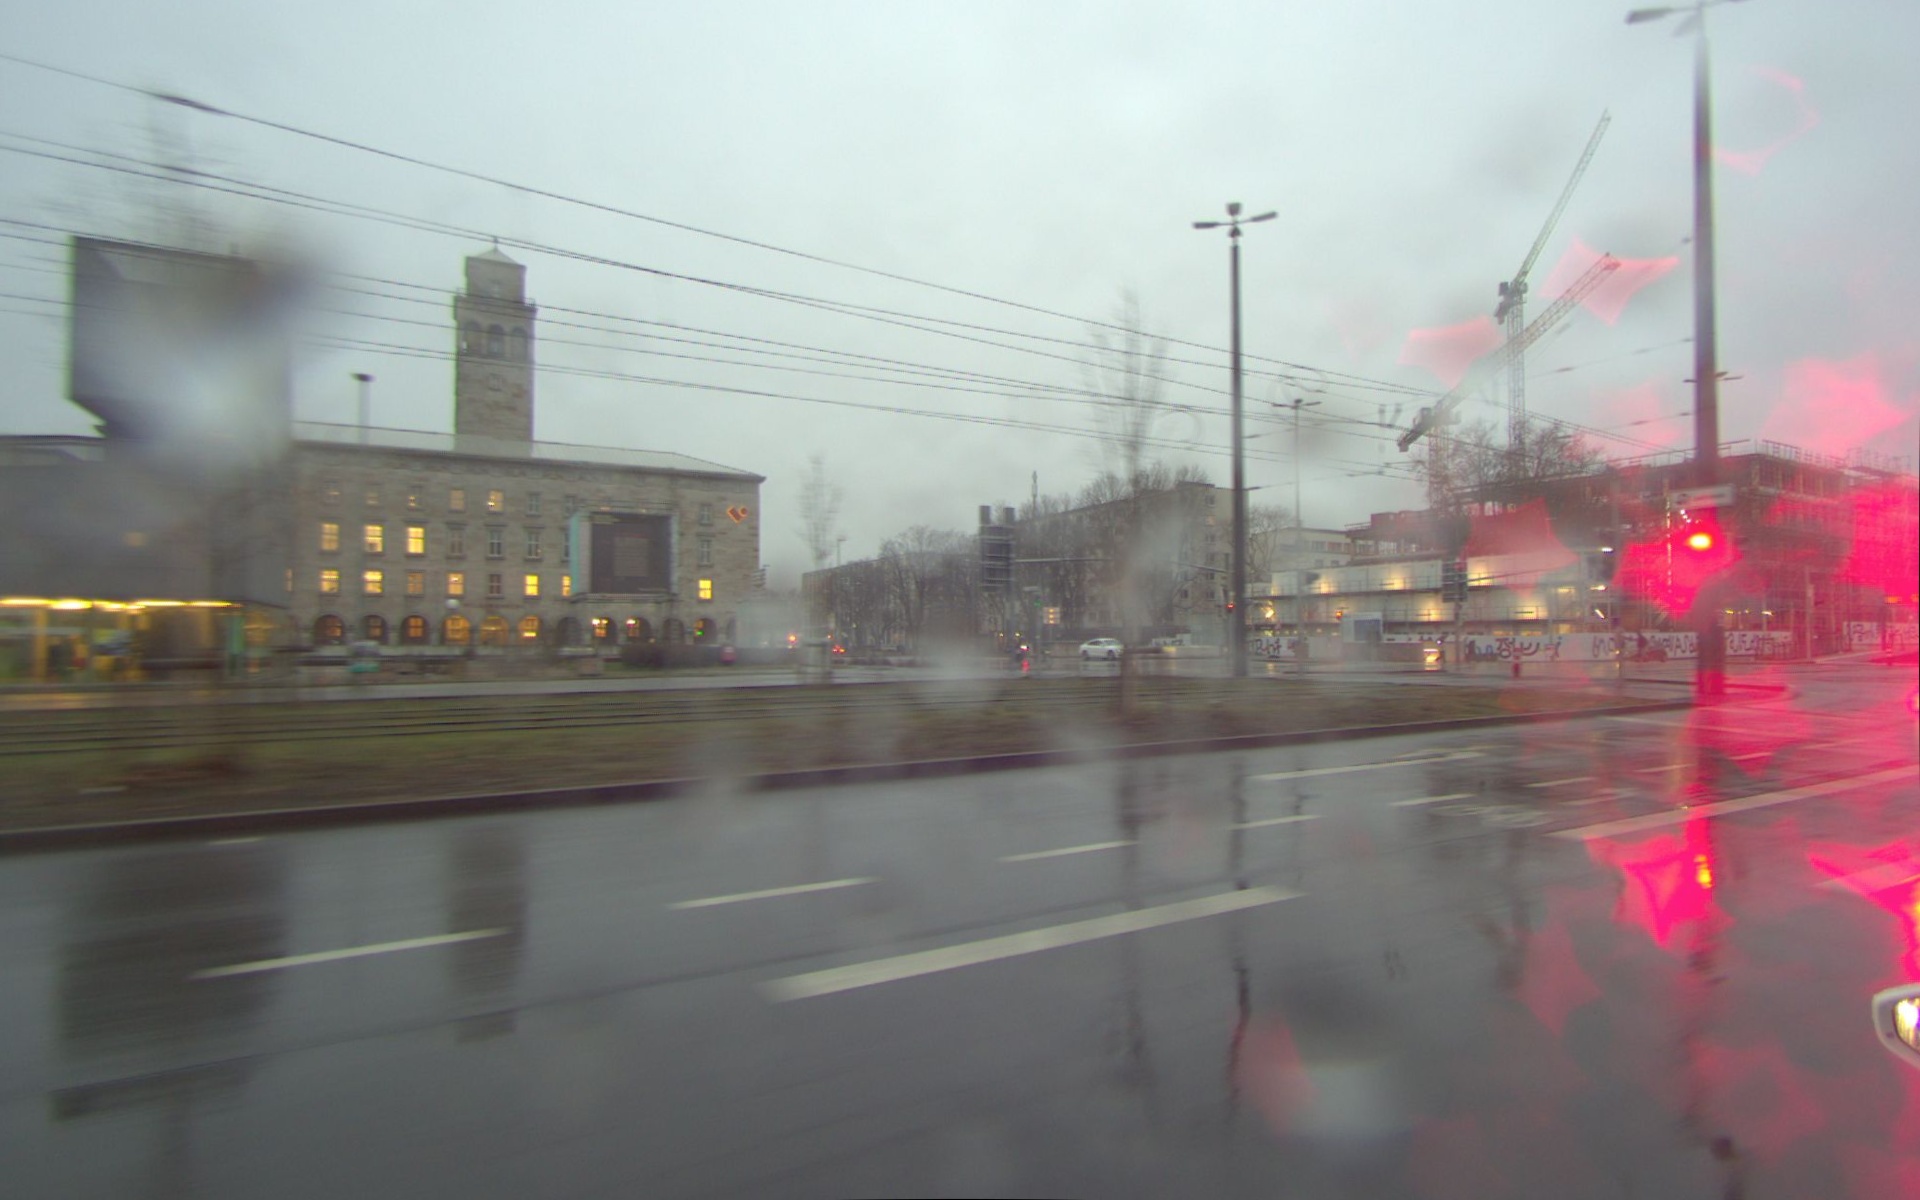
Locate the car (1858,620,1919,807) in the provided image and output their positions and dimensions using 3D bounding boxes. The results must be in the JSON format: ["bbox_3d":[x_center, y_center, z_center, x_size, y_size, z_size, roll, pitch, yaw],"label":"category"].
[{"bbox_3d":[10.289,0.960,9.022,4.866,1.540,1.901,1,-2,-30],"label":"car"}]

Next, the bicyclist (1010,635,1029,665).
[{"bbox_3d":[3.465,2.906,58.855,0.611,1.719,1.027,1,-2,-35],"label":"bicyclist"}]

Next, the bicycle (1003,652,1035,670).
[{"bbox_3d":[3.443,3.553,58.856,0.611,1.046,2.358,1,-3,-34],"label":"bicycle"}]

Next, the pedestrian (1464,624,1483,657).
[{"bbox_3d":[32.509,2.580,63.614,0.741,2.039,0.786,5,-5,-38],"label":"pedestrian"}]

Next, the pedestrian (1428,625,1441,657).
[{"bbox_3d":[30.398,2.632,64.308,0.635,2.039,0.503,6,-7,-39],"label":"pedestrian"}]

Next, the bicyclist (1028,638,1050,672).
[{"bbox_3d":[4.359,3.040,55.424,0.714,1.863,0.986,2,-3,-37],"label":"bicyclist"}]

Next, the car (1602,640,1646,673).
[{"bbox_3d":[42.591,3.602,64.422,1.737,2.040,3.978,-2,-3,42],"label":"car"}]

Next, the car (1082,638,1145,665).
[{"bbox_3d":[9.984,3.343,65.525,1.977,1.706,3.967,1,-3,-31],"label":"car"}]

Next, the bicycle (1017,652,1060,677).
[{"bbox_3d":[4.326,3.549,55.552,0.714,1.380,2.811,2,-3,-37],"label":"bicycle"}]
